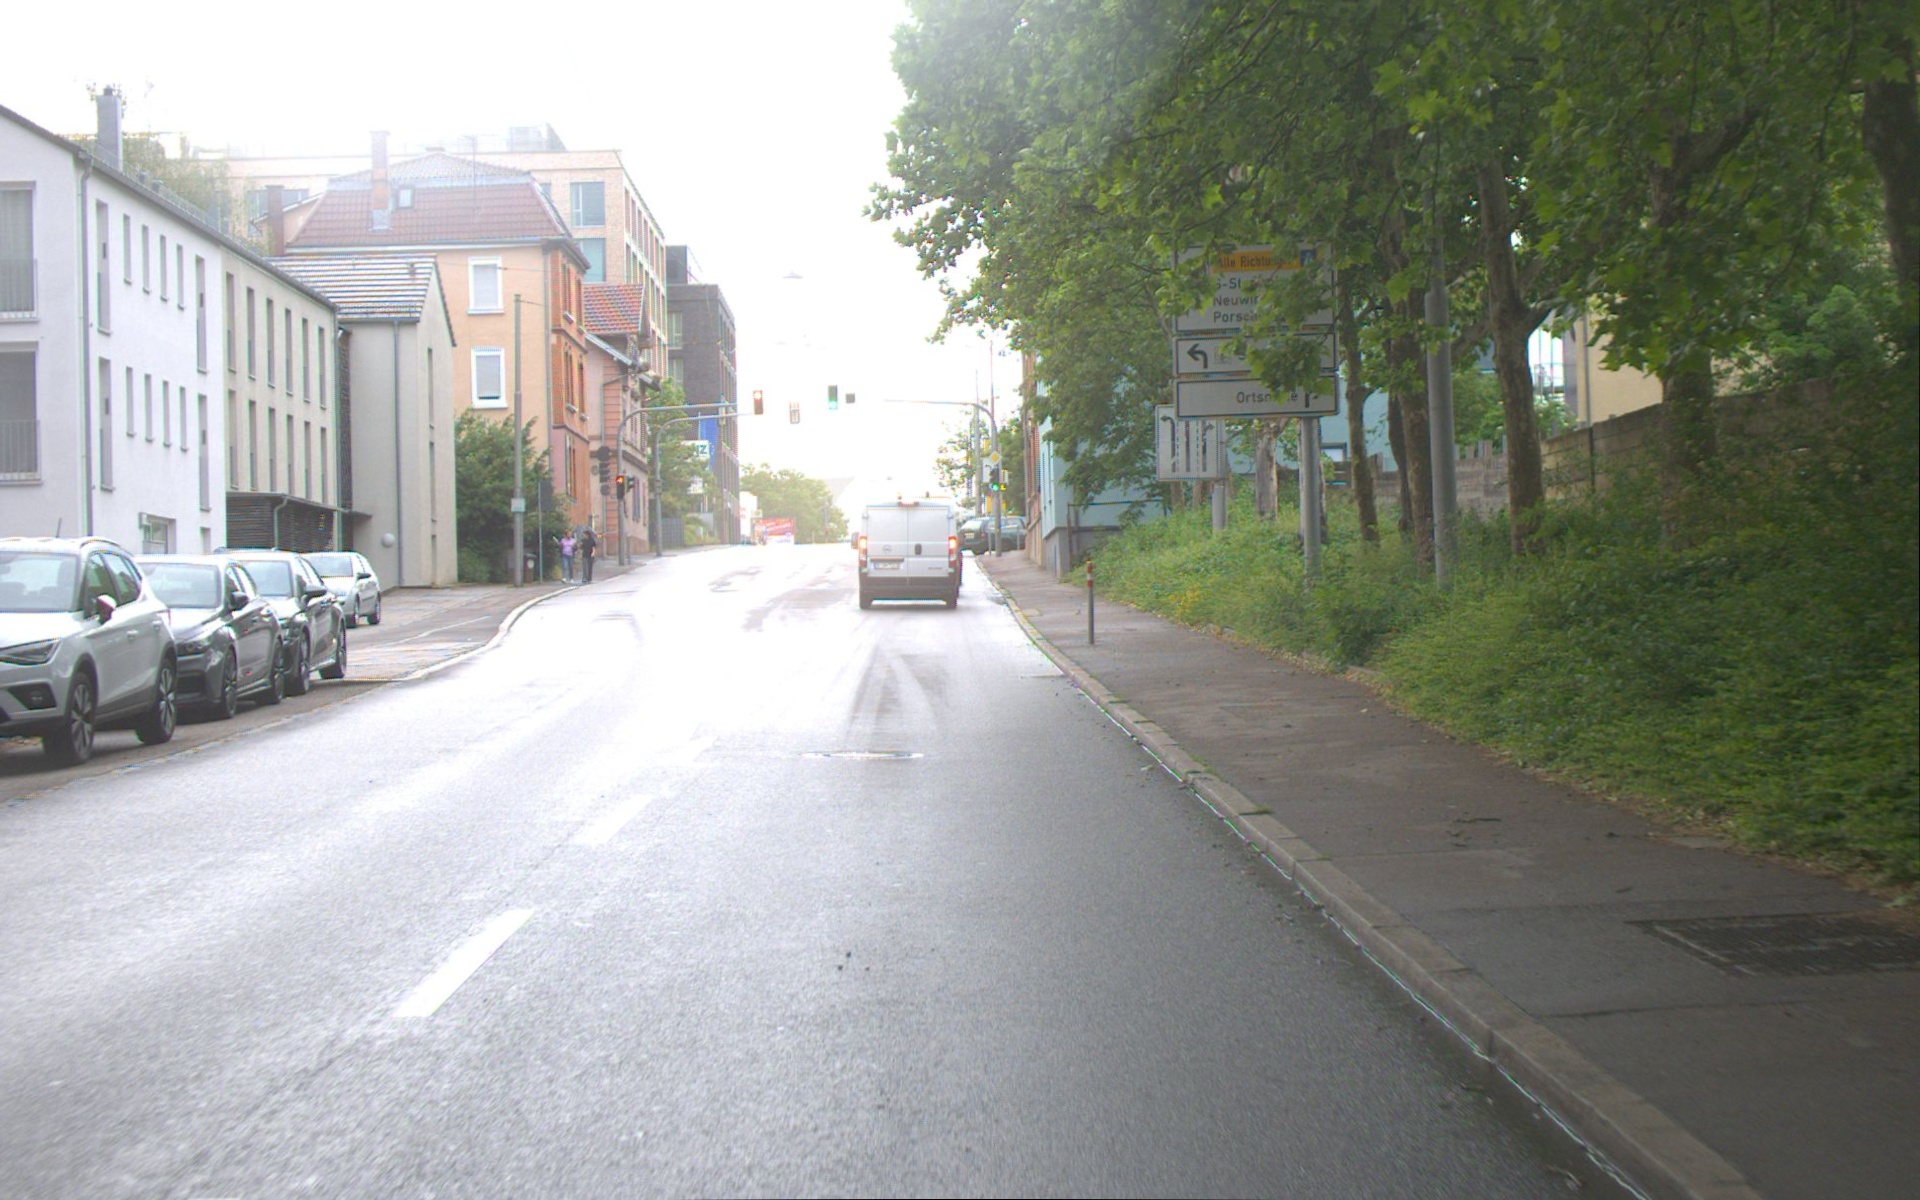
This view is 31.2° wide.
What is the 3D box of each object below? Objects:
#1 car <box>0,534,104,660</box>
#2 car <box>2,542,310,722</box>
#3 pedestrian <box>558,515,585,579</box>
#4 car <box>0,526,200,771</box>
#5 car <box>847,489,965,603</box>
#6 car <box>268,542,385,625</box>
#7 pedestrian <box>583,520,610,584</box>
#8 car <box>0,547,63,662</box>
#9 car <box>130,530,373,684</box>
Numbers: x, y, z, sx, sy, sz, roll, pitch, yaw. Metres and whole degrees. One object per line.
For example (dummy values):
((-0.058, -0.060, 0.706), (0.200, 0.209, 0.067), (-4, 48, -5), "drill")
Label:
((-14.324, -0.019, 48.043), (4.150, 1.692, 2.000), (-1, 1, 3), "car")
((-7.069, 0.229, 30.642), (1.743, 1.477, 4.386), (0, 1, 0), "car")
((-12.294, -1.688, 108.896), (0.671, 2.007, 0.941), (0, 1, 3), "pedestrian")
((-6.760, 0.310, 24.536), (1.691, 1.537, 4.118), (-3, 2, 0), "car")
((-1.100, -1.099, 71.925), (2.336, 2.223, 4.000), (-2, 0, 0), "car")
((-12.380, -0.353, 67.387), (1.667, 1.525, 4.096), (-1, 1, -2), "car")
((-11.515, -1.515, 108.877), (0.671, 2.007, 0.941), (0, 1, 3), "pedestrian")
((-14.269, 0.096, 45.346), (4.289, 1.458, 2.069), (-1, 1, 0), "car")
((-7.269, 0.046, 35.665), (1.635, 1.477, 4.359), (1, 1, 0), "car")
